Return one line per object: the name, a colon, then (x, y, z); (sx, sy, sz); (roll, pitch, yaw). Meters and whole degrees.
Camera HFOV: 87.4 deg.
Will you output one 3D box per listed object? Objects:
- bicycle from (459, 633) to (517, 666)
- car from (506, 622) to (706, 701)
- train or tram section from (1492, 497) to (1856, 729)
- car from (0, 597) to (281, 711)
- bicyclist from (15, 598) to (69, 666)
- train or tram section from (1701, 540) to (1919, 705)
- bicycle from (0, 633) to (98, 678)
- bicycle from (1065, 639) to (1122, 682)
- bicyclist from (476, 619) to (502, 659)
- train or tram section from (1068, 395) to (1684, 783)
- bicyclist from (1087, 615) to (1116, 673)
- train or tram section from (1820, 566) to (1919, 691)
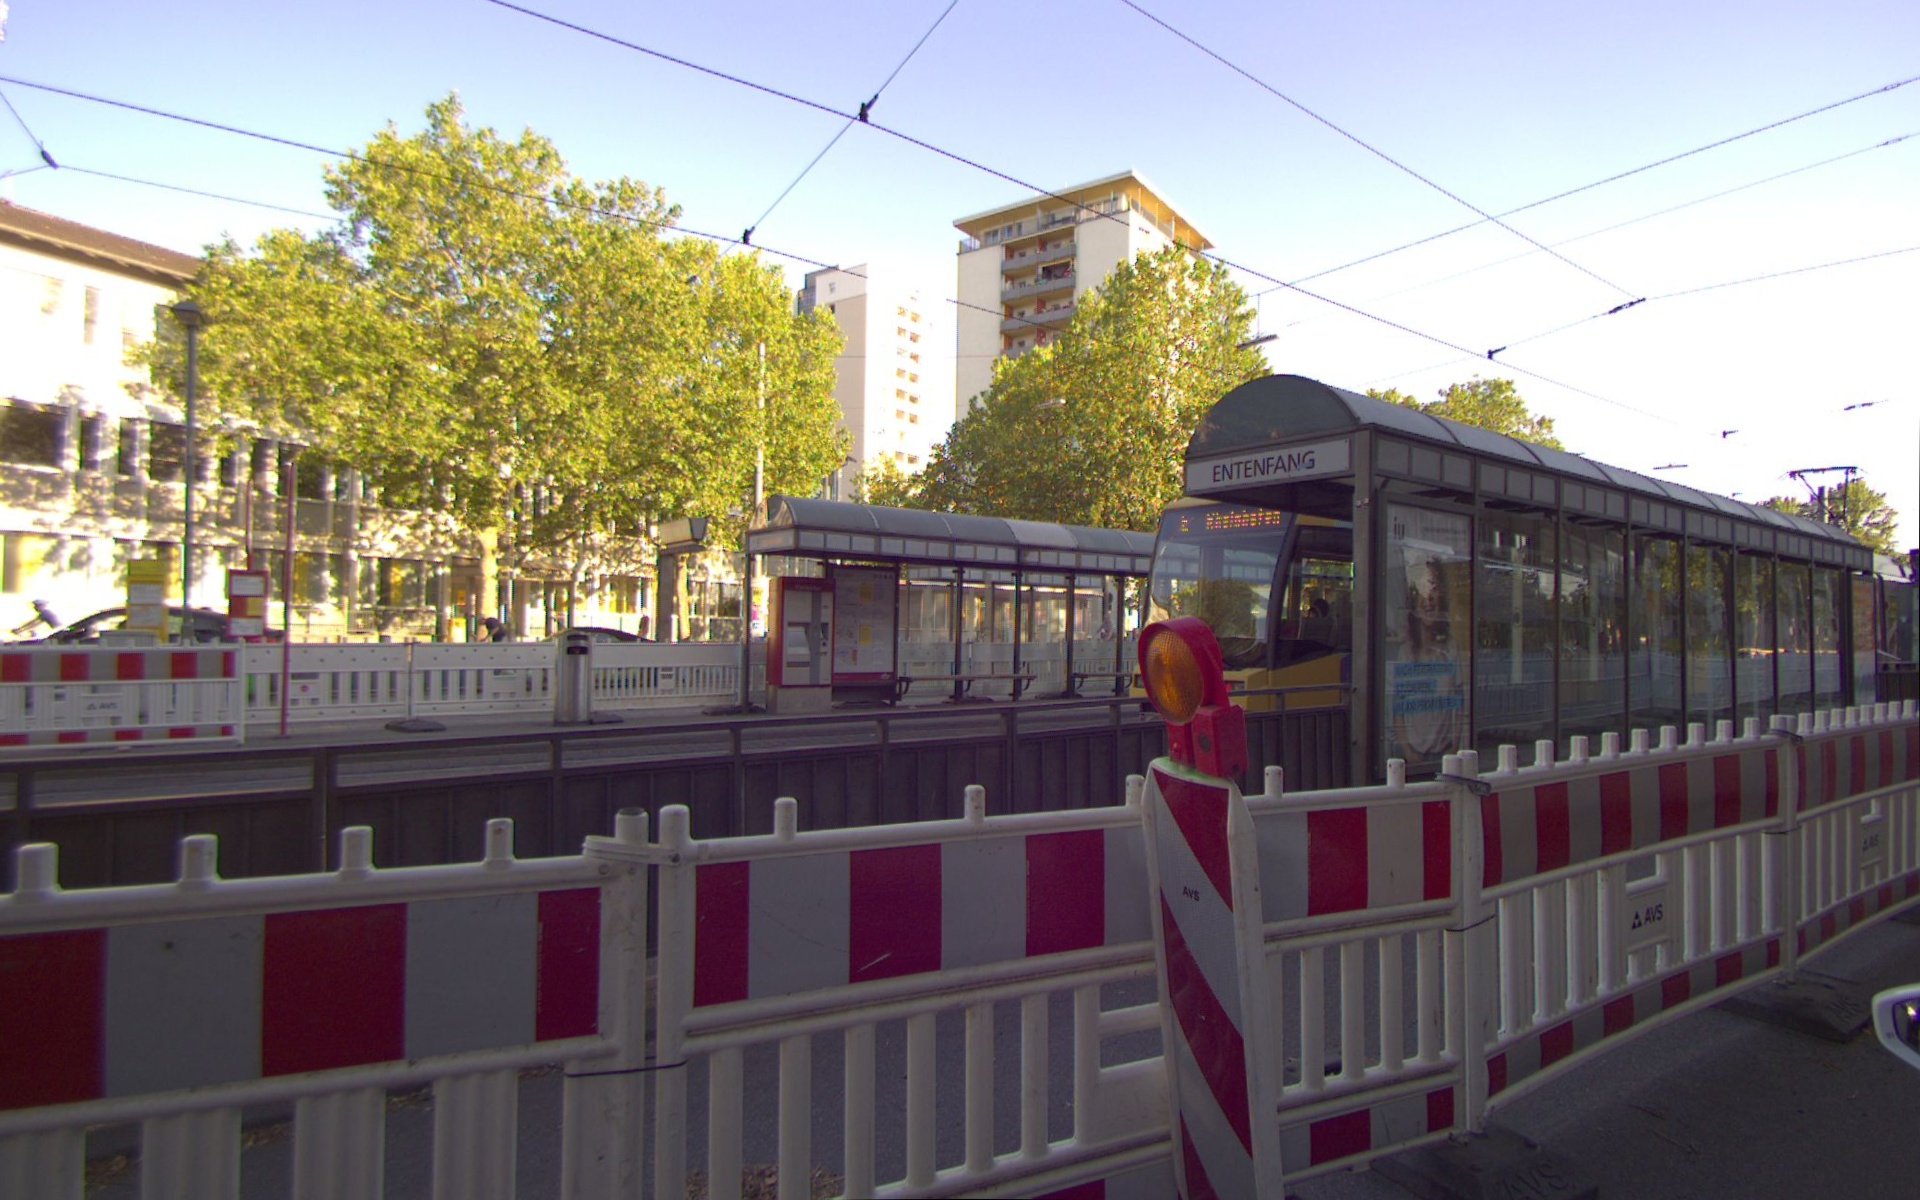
bicycle: (-13.456, 1.402, 28.681); (0.451, 0.925, 1.424); (0, -2, 42)
car: (-7.747, 1.302, 22.132); (3.807, 1.597, 1.677); (2, -2, -38)
train or tram section: (14.259, 0.350, 19.552); (10.243, 3.533, 2.850); (2, -1, -37)
car: (-13.945, 0.842, 16.508); (4.544, 1.689, 1.881); (2, 0, -37)
bicyclist: (-19.659, 0.688, 21.522); (0.716, 1.415, 0.517); (2, -2, -30)
train or tram section: (22.409, 0.637, 25.757); (10.245, 3.533, 2.814); (2, -1, -38)
bicycle: (-19.675, 1.183, 21.507); (1.749, 0.932, 0.517); (2, -2, -31)
bicycle: (3.869, 1.736, 28.987); (1.753, 1.202, 0.554); (2, -2, -37)
bicyclist: (-13.447, 1.105, 28.688); (0.451, 1.137, 0.504); (0, -2, 43)
train or tram section: (6.150, 0.052, 13.368); (10.243, 3.533, 2.815); (2, -1, -37)
bicyclist: (4.096, 1.282, 29.157); (0.619, 1.653, 0.554); (2, -2, -37)
train or tram section: (30.525, 0.949, 31.943); (10.244, 3.533, 2.795); (2, -1, -38)
